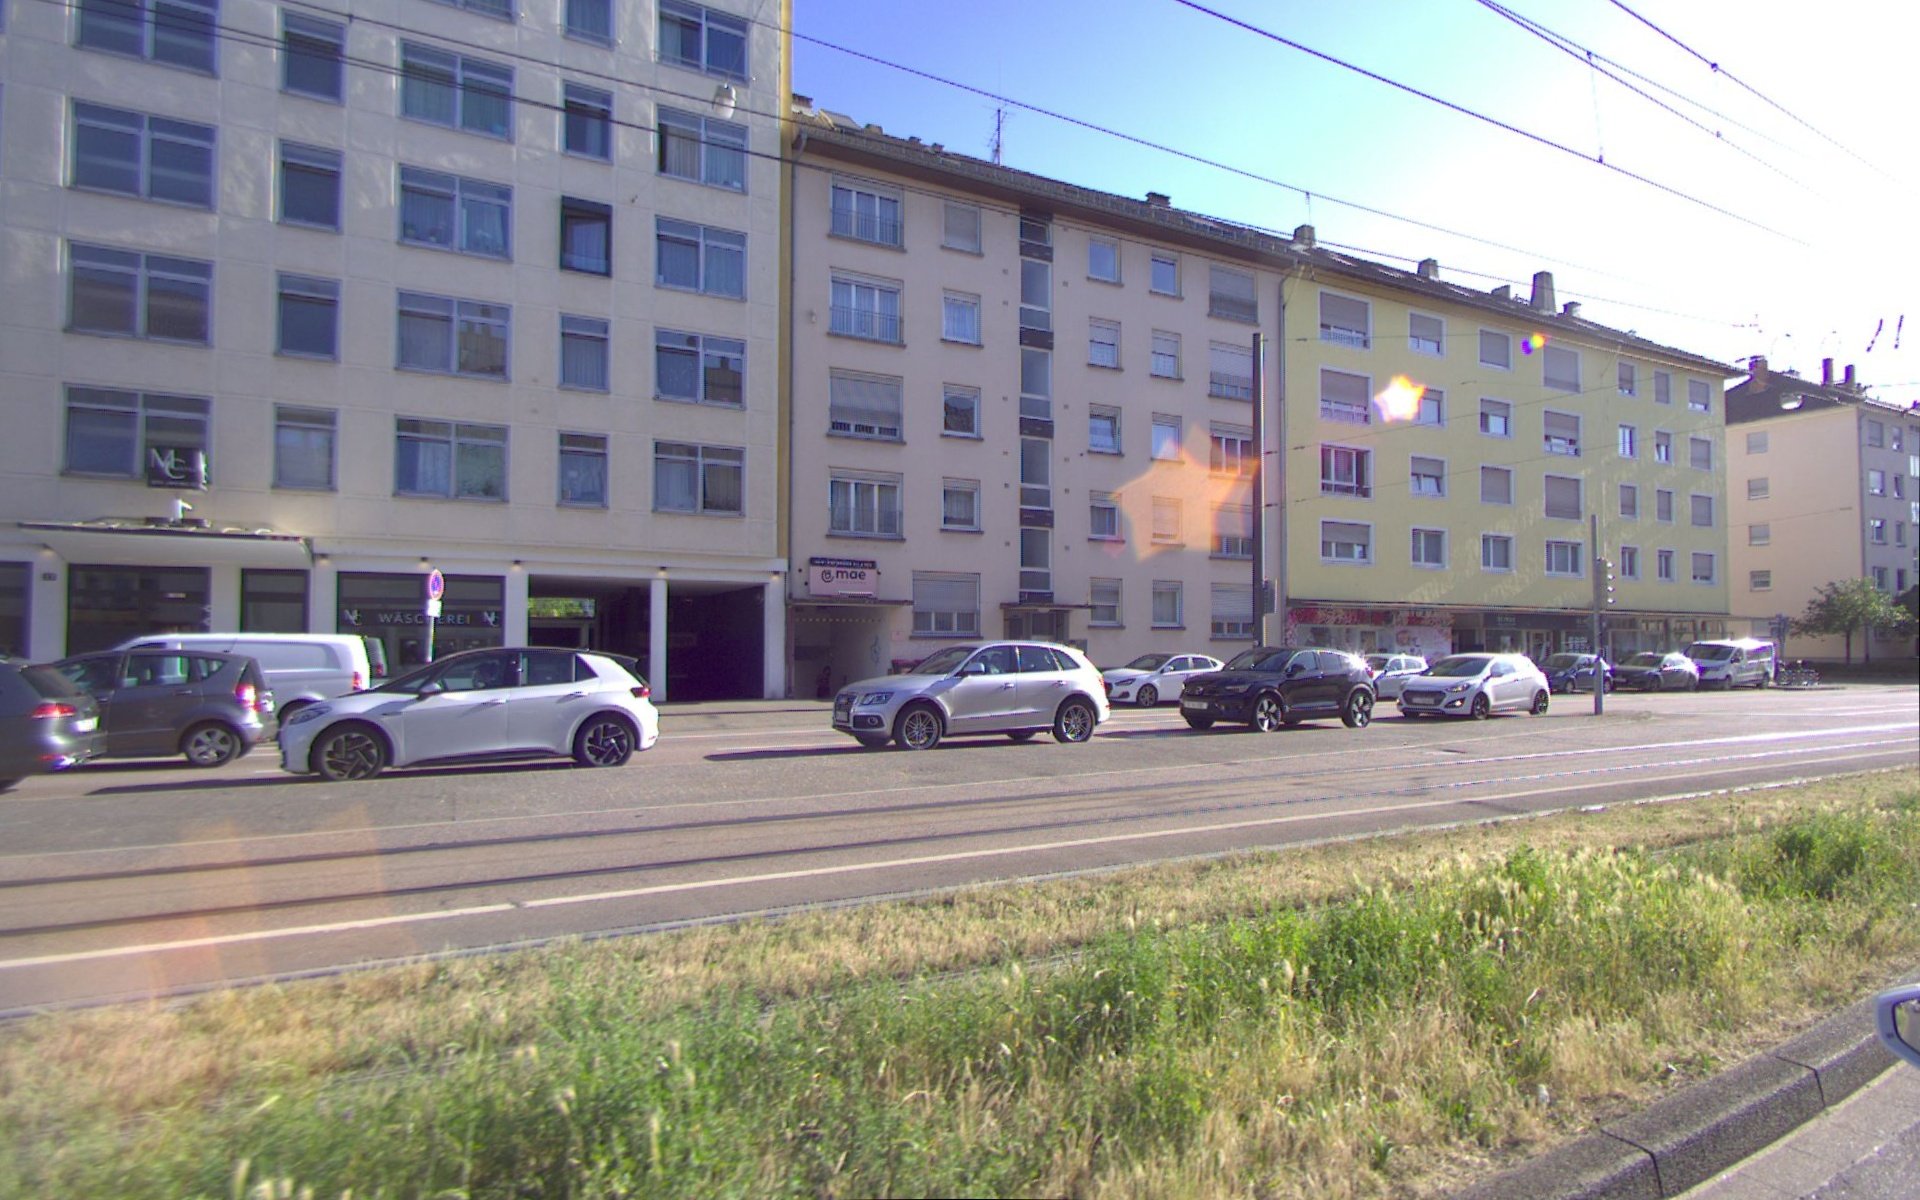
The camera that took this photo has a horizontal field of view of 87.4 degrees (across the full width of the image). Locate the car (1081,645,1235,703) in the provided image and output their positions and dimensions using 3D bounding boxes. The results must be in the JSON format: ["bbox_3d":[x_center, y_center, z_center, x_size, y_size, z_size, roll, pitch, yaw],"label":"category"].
[{"bbox_3d":[5.563,2.057,28.199,4.003,1.454,1.770,2,-1,-27],"label":"car"}]

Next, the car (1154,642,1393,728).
[{"bbox_3d":[6.182,1.632,19.681,4.515,1.499,1.954,3,-4,-30],"label":"car"}]

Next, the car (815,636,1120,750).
[{"bbox_3d":[0.160,1.413,16.014,4.574,1.597,1.857,2,-4,-29],"label":"car"}]

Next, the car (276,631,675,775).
[{"bbox_3d":[-5.931,1.229,12.626,4.193,1.535,1.830,3,-4,-30],"label":"car"}]

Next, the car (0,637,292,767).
[{"bbox_3d":[-11.774,1.332,13.648,4.271,1.596,1.974,3,-3,-29],"label":"car"}]

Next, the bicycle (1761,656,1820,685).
[{"bbox_3d":[36.844,3.129,44.593,1.938,1.222,0.695,0,-4,36],"label":"bicycle"}]

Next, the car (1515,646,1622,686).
[{"bbox_3d":[22.944,2.500,37.874,3.716,1.445,1.694,2,-3,-25],"label":"car"}]

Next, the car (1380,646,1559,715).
[{"bbox_3d":[11.812,1.836,23.236,4.239,1.465,1.813,3,-4,-33],"label":"car"}]

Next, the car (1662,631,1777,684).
[{"bbox_3d":[32.556,2.481,43.037,5.242,2.133,1.995,2,-3,-29],"label":"car"}]

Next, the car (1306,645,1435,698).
[{"bbox_3d":[13.160,2.242,32.187,3.752,1.602,1.825,1,-3,-27],"label":"car"}]

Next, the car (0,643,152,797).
[{"bbox_3d":[-11.187,1.184,10.042,4.482,1.510,1.812,2,-3,-26],"label":"car"}]

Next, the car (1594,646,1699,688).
[{"bbox_3d":[27.374,2.658,40.060,3.864,1.507,1.760,4,-4,-25],"label":"car"}]

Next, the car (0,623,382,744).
[{"bbox_3d":[-13.633,1.442,18.269,5.260,1.894,1.934,2,0,-28],"label":"car"}]

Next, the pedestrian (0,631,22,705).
[{"bbox_3d":[-18.470,1.290,19.258,0.598,1.394,0.494,5,-4,-42],"label":"pedestrian"}]

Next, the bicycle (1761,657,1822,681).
[{"bbox_3d":[38.060,3.140,45.993,0.797,1.035,2.056,5,-5,-40],"label":"bicycle"}]
